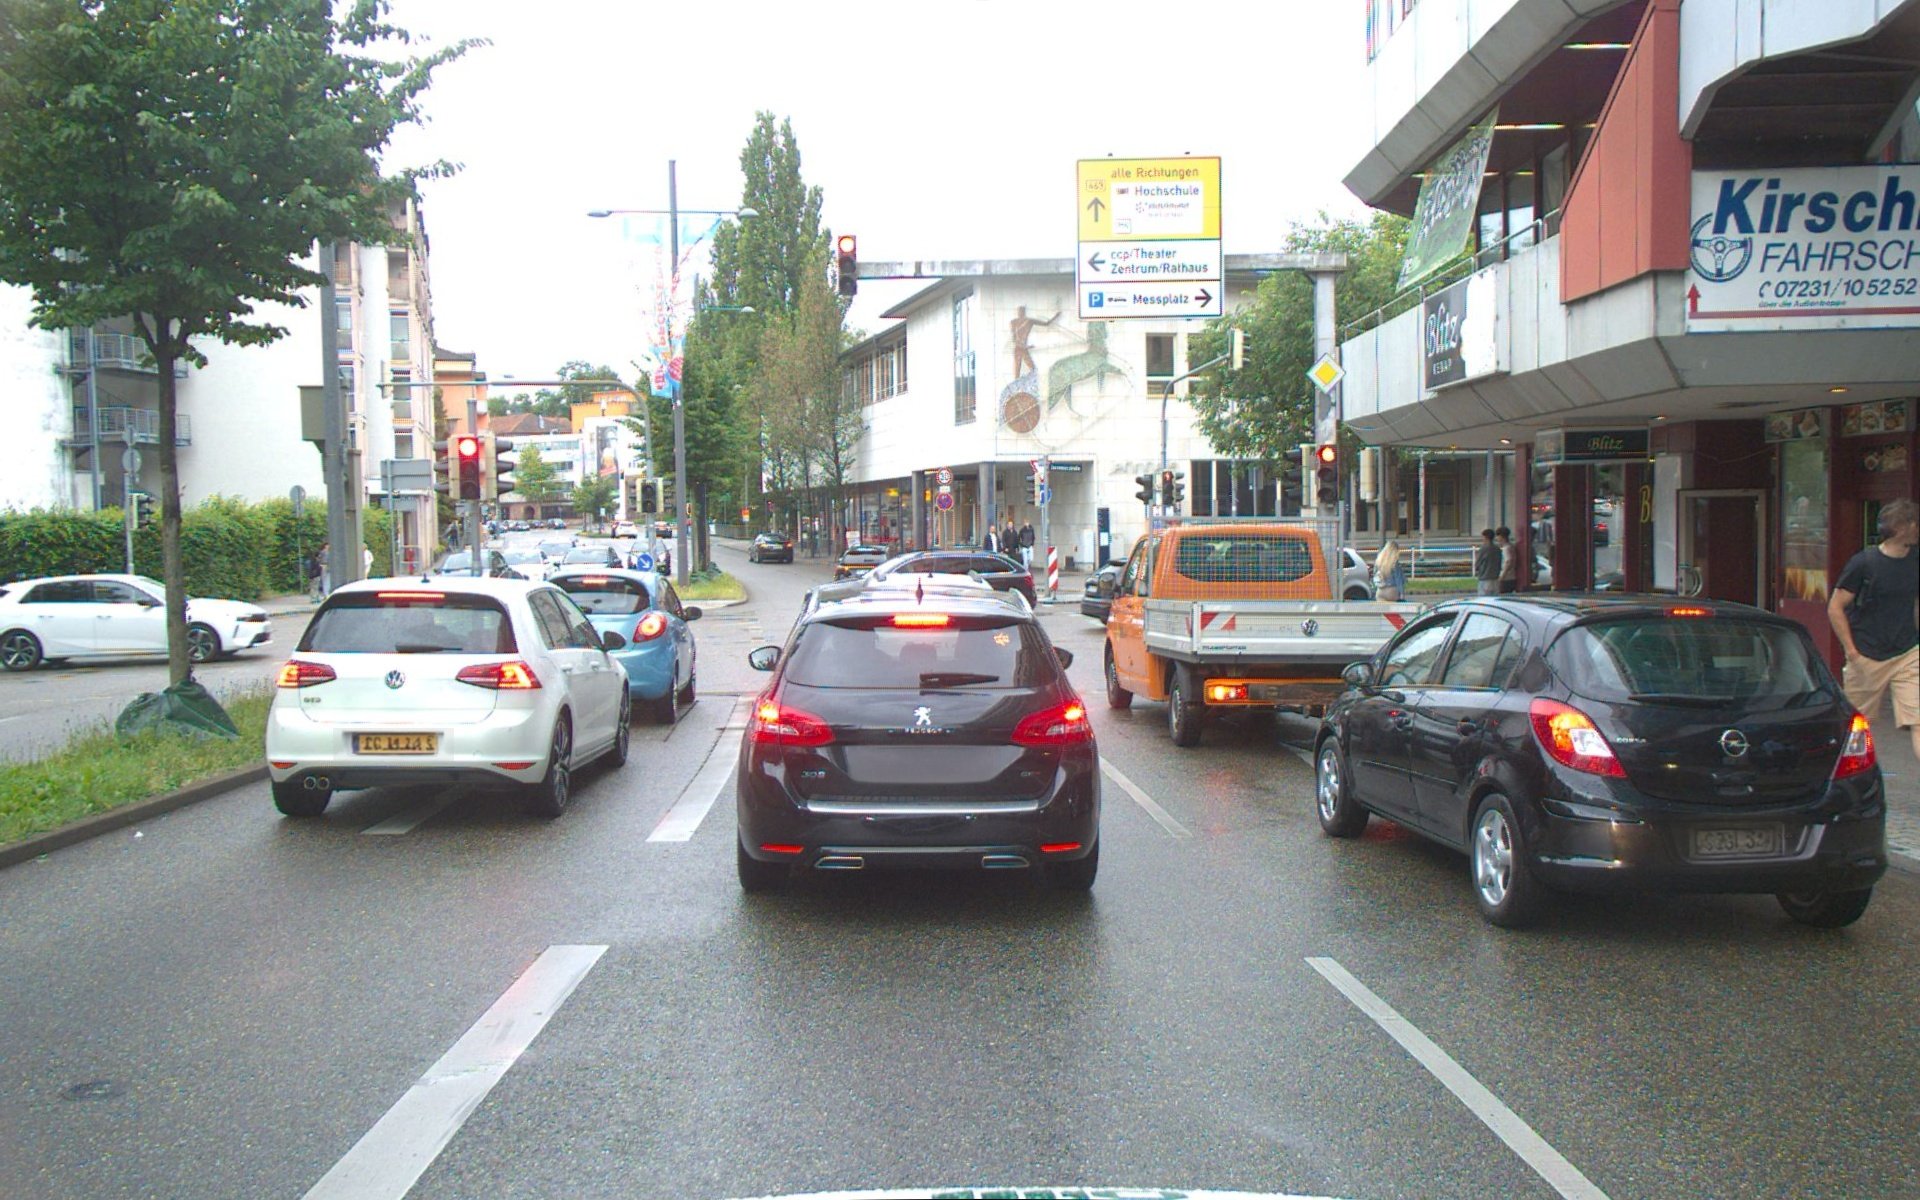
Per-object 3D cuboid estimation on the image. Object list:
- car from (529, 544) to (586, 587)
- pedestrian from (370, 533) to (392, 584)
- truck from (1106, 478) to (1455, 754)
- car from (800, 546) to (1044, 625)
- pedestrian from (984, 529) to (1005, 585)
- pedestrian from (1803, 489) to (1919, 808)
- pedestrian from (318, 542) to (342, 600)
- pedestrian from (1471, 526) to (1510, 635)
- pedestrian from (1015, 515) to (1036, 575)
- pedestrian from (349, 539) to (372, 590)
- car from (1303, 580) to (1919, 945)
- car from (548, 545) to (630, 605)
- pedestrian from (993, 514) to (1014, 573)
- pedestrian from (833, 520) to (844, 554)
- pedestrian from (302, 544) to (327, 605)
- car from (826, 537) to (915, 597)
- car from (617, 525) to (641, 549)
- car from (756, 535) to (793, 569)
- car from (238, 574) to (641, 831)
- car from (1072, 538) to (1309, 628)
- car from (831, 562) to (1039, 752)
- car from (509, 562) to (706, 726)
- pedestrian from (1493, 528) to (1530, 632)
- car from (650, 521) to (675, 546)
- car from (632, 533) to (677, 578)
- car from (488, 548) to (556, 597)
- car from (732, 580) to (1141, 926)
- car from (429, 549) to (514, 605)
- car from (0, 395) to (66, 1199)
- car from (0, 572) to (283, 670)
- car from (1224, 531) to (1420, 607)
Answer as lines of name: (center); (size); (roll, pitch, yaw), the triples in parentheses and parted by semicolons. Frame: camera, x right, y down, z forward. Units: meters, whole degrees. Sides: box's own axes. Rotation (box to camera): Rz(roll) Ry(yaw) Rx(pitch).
car: (-14.861, -1.290, 61.188); (1.602, 1.512, 3.605); (1, 2, -7)
pedestrian: (-20.285, -1.454, 57.972); (0.584, 1.758, 0.655); (1, -1, -9)
truck: (2.826, 0.067, 15.920); (2.133, 2.210, 5.018); (1, 2, -3)
car: (-0.781, -0.285, 33.145); (4.643, 1.512, 1.632); (0, 1, -15)
pedestrian: (1.123, -1.387, 53.859); (0.623, 1.788, 0.734); (1, -1, 6)
pedestrian: (5.715, 0.274, 10.069); (0.726, 1.847, 0.774); (-4, -1, 11)
pedestrian: (-19.493, -0.888, 51.196); (0.528, 1.778, 0.564); (1, -1, -6)
pedestrian: (8.458, -0.300, 26.399); (0.417, 1.712, 0.450); (-1, -1, -2)
pedestrian: (2.188, -1.824, 55.035); (0.623, 1.930, 0.734); (1, -1, 6)
pedestrian: (-20.843, -1.220, 57.523); (0.584, 1.758, 0.655); (1, -1, -9)
car: (3.105, 0.647, 8.676); (1.584, 1.454, 3.839); (1, 1, -4)
car: (-10.654, -0.689, 47.746); (1.710, 1.607, 3.996); (1, -1, -4)
pedestrian: (1.464, -1.869, 55.188); (0.623, 1.930, 0.734); (1, -1, 6)
pedestrian: (-6.605, -3.428, 89.834); (0.461, 1.778, 0.537); (1, -1, -21)
pedestrian: (-19.337, -0.760, 49.570); (0.529, 1.778, 0.746); (1, -1, -9)
car: (-2.495, -0.975, 47.204); (1.749, 1.479, 4.511); (-2, 3, 7)
car: (-29.139, -5.552, 145.562); (1.679, 1.915, 3.980); (1, -1, -18)
car: (-9.516, -2.436, 84.531); (1.693, 1.516, 4.723); (1, -1, -9)
car: (-3.344, 0.561, 11.383); (1.742, 1.454, 3.840); (1, 1, -3)
car: (4.380, -0.336, 31.578); (4.152, 1.592, 1.700); (-1, 1, -12)
car: (-0.235, 0.420, 15.291); (1.662, 1.512, 3.793); (1, 2, -1)
car: (-3.581, 0.376, 17.327); (1.601, 1.512, 3.606); (1, 2, -6)
pedestrian: (8.936, -0.317, 26.802); (0.388, 1.668, 0.504); (-1, -1, 0)
car: (-26.428, -5.856, 146.918); (1.679, 1.970, 3.980); (1, -1, -18)
car: (-12.500, -1.787, 67.581); (1.713, 1.669, 3.989); (1, -1, -11)
car: (-14.191, -0.921, 53.723); (1.602, 1.512, 3.605); (1, 2, -7)
car: (-0.190, 0.638, 9.018); (1.742, 1.454, 3.840); (1, 1, -3)
car: (-13.789, -0.665, 46.816); (1.543, 1.512, 3.607); (1, 2, -4)
car: (-3.034, 0.447, 1.424); (1.873, 1.903, 5.071); (1, -1, -2)
car: (-13.483, 0.331, 27.016); (4.214, 1.512, 1.635); (0, 1, -10)
car: (7.797, -0.645, 35.742); (3.828, 1.512, 1.618); (1, -1, -13)
